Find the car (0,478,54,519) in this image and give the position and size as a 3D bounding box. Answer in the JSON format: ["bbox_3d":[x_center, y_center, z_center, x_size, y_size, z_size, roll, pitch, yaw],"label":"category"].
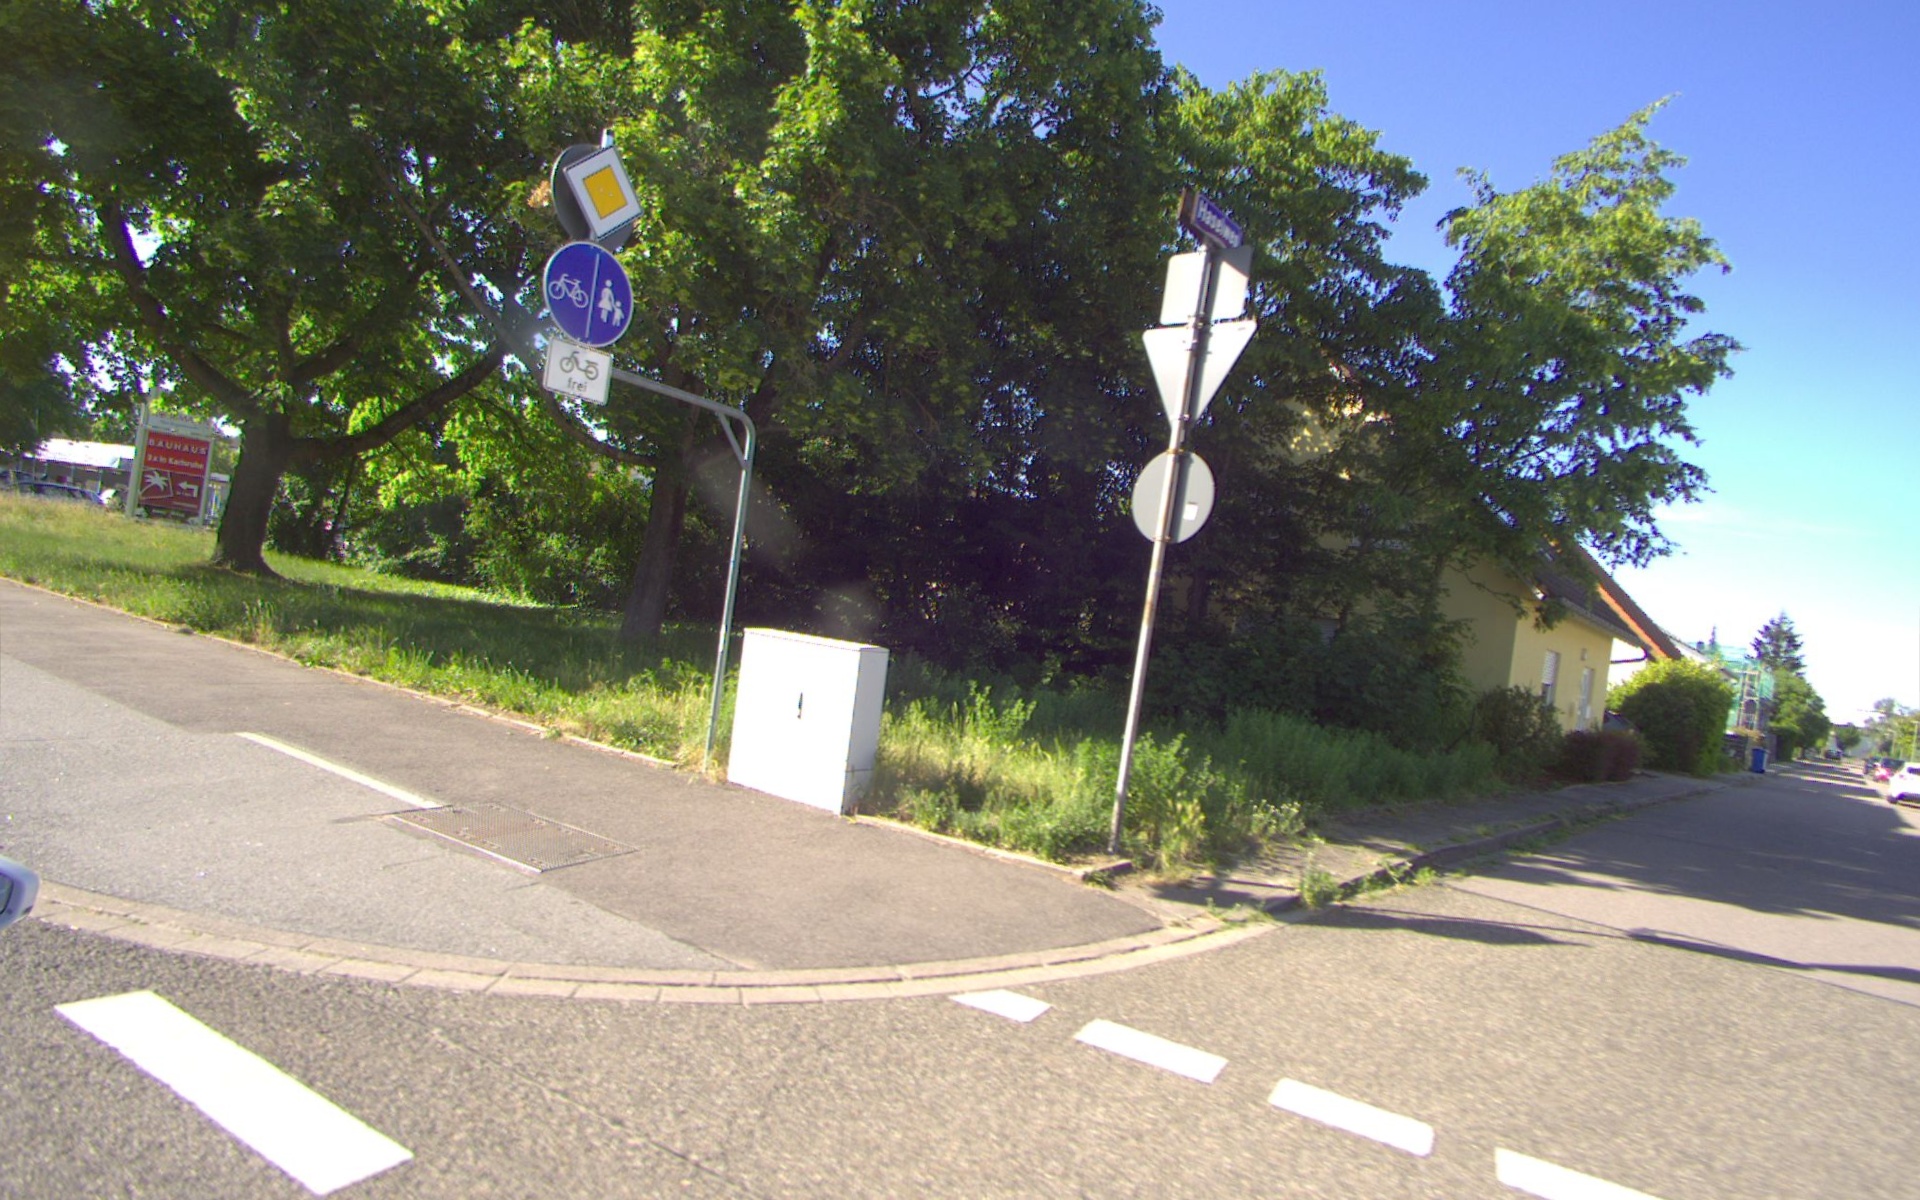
[{"bbox_3d":[-50.555,-5.537,52.899,1.771,1.628,3.858,8,-4,11],"label":"car"}]

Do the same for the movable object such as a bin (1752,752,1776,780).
[{"bbox_3d":[34.855,7.194,43.631,0.651,1.127,0.596,6,-4,31],"label":"movable object such as a bin"}]

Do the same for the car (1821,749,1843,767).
[{"bbox_3d":[127.877,23.200,147.507,1.975,2.034,3.983,5,-6,45],"label":"car"}]

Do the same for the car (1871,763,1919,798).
[{"bbox_3d":[56.191,10.842,60.425,3.981,1.645,1.788,13,-6,-43],"label":"car"}]

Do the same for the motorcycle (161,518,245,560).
[{"bbox_3d":[-32.970,-2.633,43.859,0.824,1.283,2.722,5,-6,45],"label":"motorcycle"}]

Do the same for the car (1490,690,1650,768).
[{"bbox_3d":[18.305,3.862,30.234,3.726,1.668,1.890,5,-5,41],"label":"car"}]

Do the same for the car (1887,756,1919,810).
[{"bbox_3d":[31.884,6.144,32.907,4.208,1.534,1.917,13,-6,-42],"label":"car"}]

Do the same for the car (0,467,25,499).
[{"bbox_3d":[-52.369,-6.559,53.162,1.771,1.497,3.858,8,-4,11],"label":"car"}]

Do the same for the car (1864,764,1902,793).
[{"bbox_3d":[68.574,13.266,74.721,3.982,1.645,1.788,13,-6,-43],"label":"car"}]

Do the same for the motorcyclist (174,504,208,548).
[{"bbox_3d":[-33.258,-3.194,43.512,0.859,1.697,0.824,12,-5,-44],"label":"motorcyclist"}]

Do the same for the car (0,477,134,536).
[{"bbox_3d":[-36.104,-3.740,40.060,1.972,1.591,4.617,5,-3,41],"label":"car"}]
